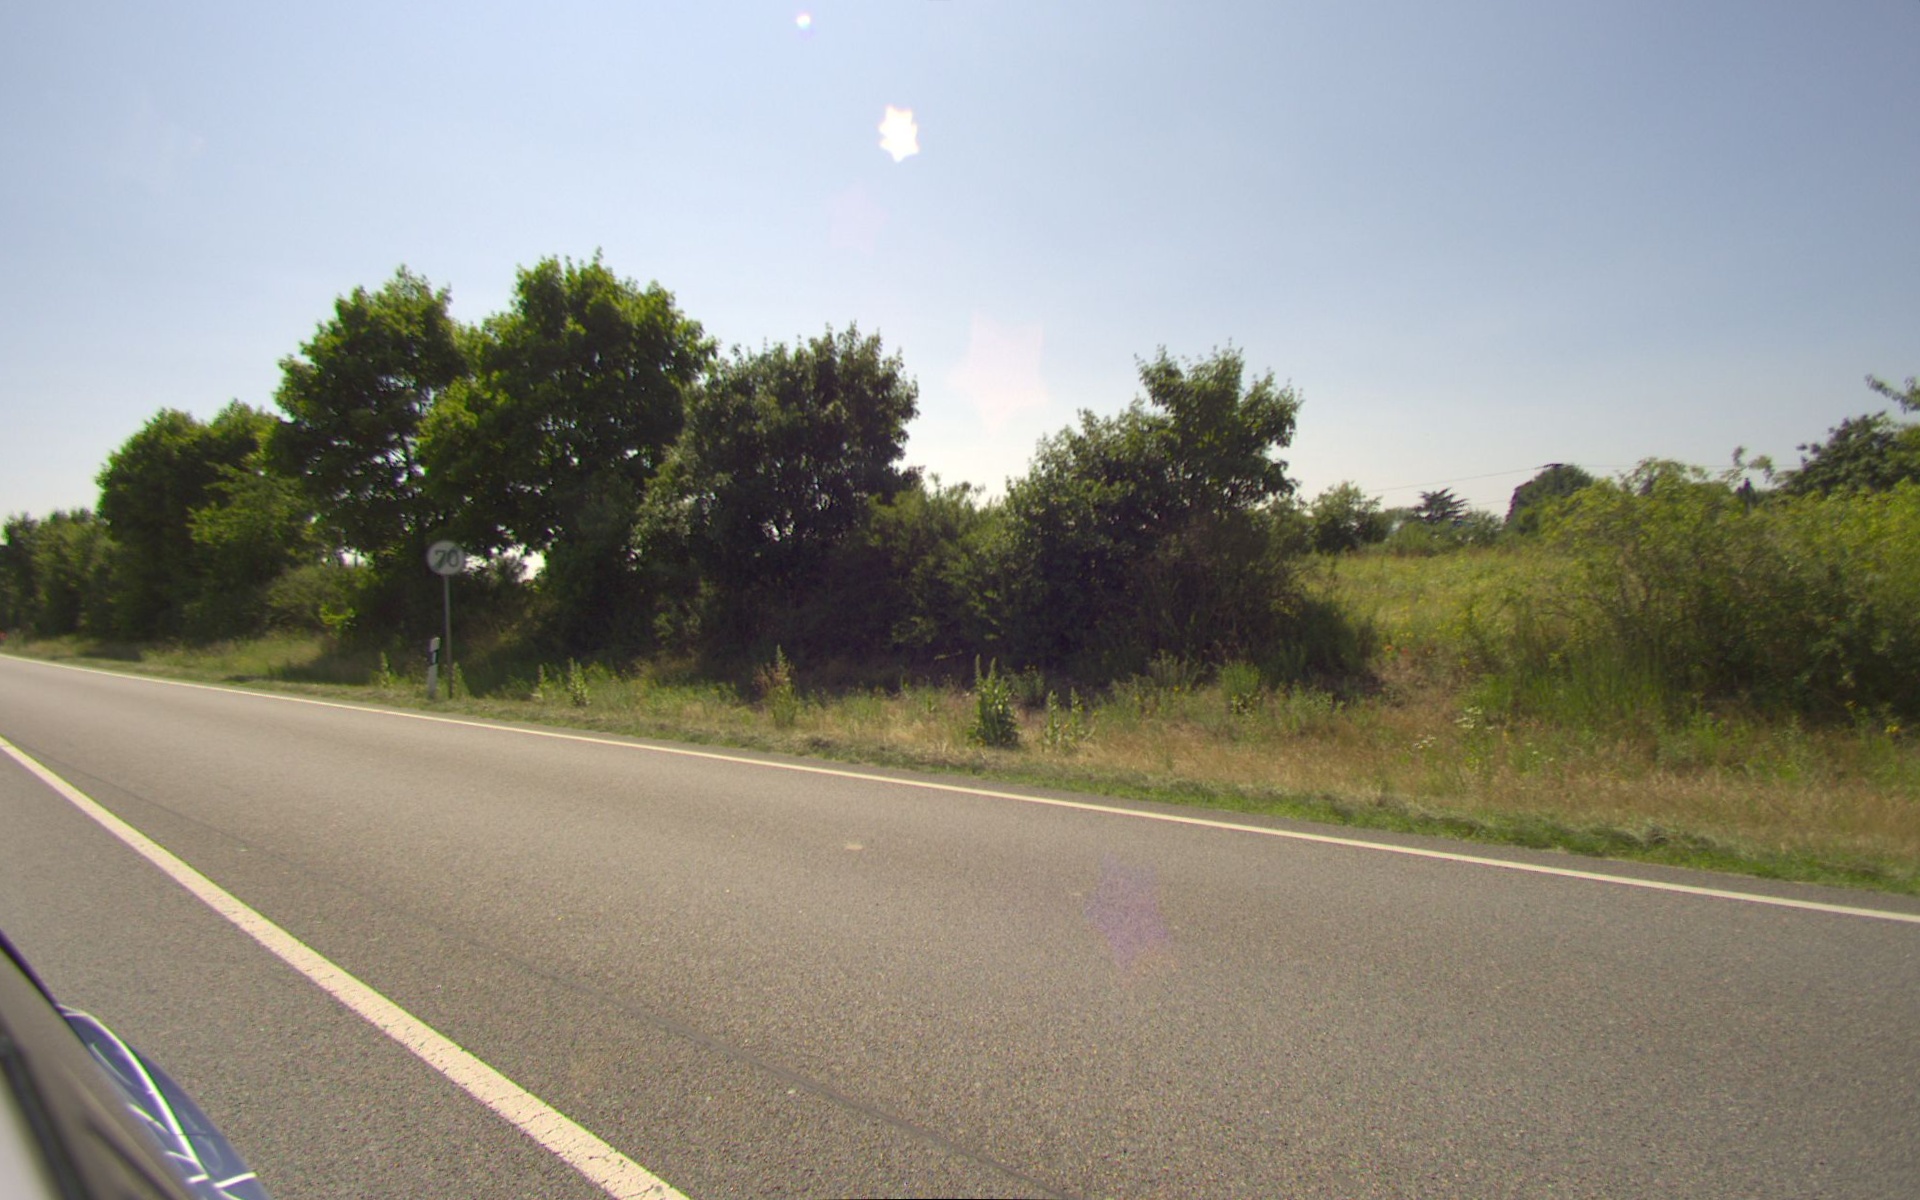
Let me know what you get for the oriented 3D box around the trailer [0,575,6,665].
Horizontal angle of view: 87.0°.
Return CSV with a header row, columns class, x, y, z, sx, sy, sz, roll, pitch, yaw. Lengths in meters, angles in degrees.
class,x,y,z,sx,sy,sz,roll,pitch,yaw
trailer,-43.601,0.967,43.112,14.937,3.486,2.635,-2,-1,40
